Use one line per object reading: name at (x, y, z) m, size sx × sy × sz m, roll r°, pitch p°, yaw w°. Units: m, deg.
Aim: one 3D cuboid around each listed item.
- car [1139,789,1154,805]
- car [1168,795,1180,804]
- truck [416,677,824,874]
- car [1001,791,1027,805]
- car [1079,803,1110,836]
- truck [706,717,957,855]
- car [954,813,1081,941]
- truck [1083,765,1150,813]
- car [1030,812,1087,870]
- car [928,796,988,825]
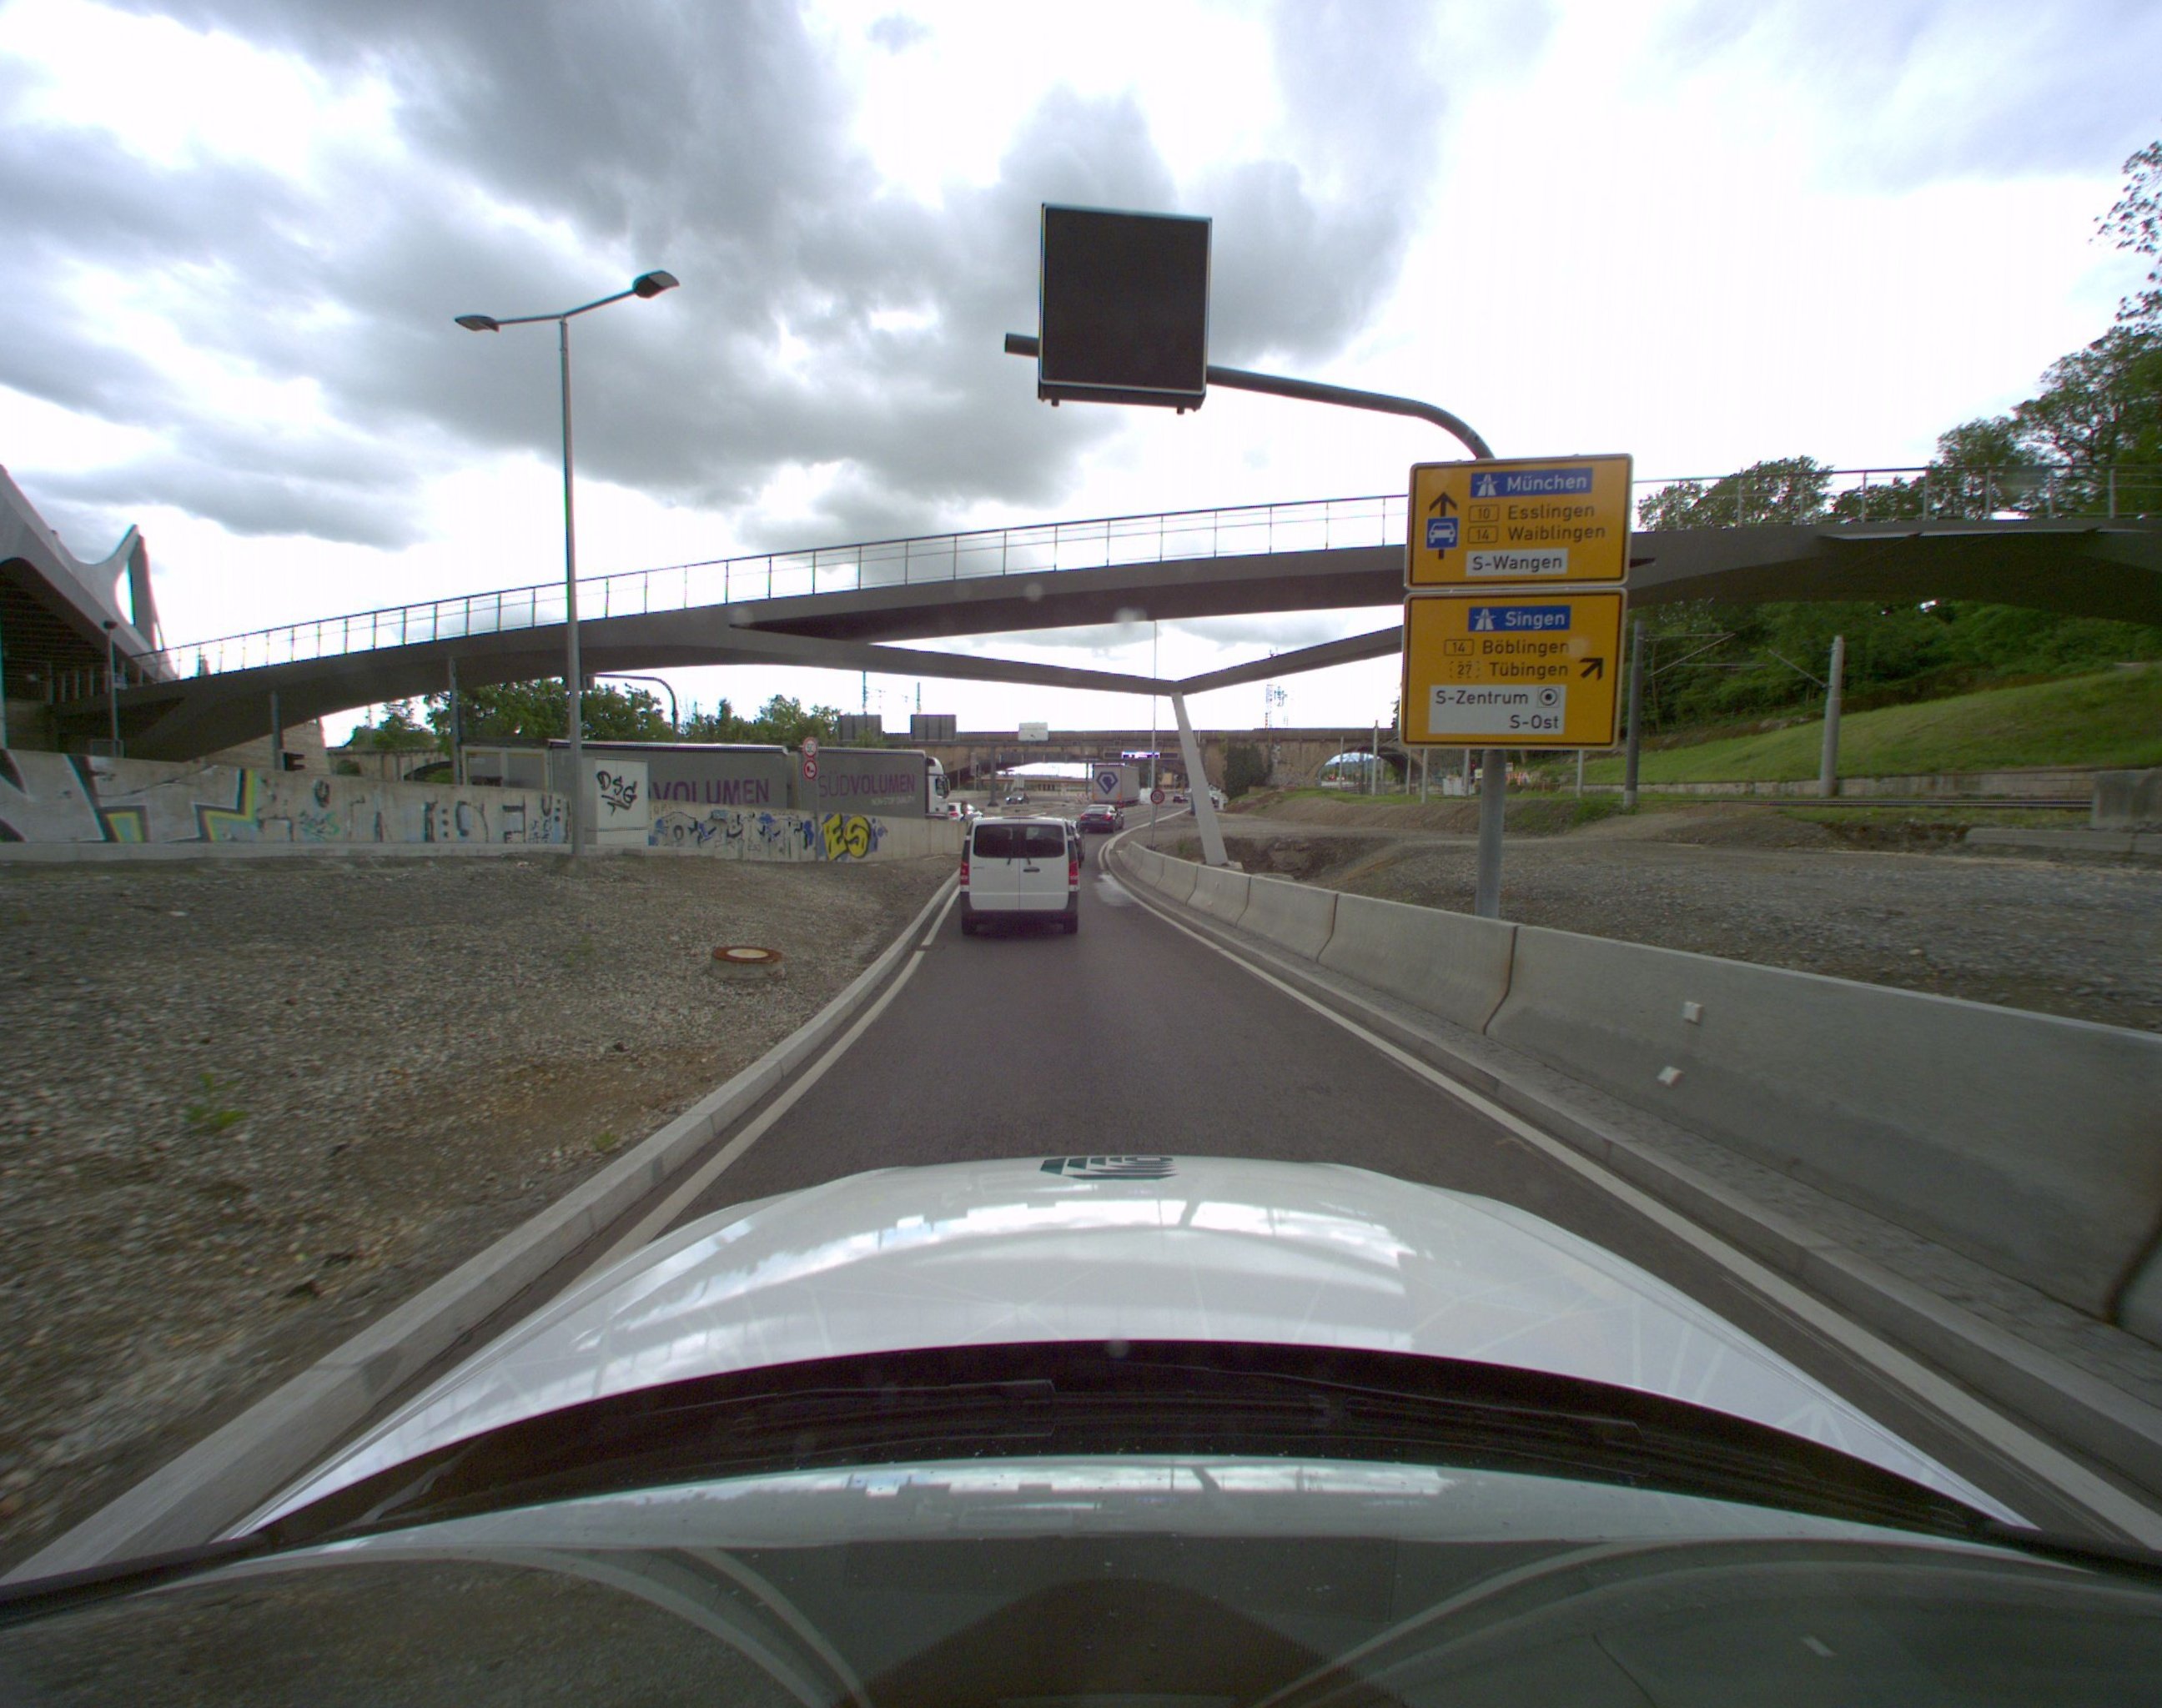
car at (9.293, -8.035, 115.161) m, size 1.888 × 2.115 × 4.495 m, roll 3°, pitch 3°, yaw 7°
car at (17.655, -10.460, 155.439) m, size 1.619 × 1.584 × 3.998 m, roll 2°, pitch 3°, yaw -3°
truck at (-11.322, -1.936, 21.993) m, size 2.895 × 4.015 × 10.251 m, roll 3°, pitch 4°, yaw 18°
car at (-7.580, -6.316, 92.496) m, size 1.807 × 1.452 × 4.016 m, roll 2°, pitch 3°, yaw 13°
car at (0.765, -1.907, 43.969) m, size 1.495 × 1.467 × 3.404 m, roll 2°, pitch 7°, yaw 3°
truck at (-8.597, -2.412, 30.468) m, size 2.964 × 4.174 × 11.296 m, roll 3°, pitch 4°, yaw 18°
car at (-1.022, 0.280, 14.449) m, size 1.871 × 1.890 × 4.750 m, roll 0°, pitch 1°, yaw -2°
truck at (3.611, -6.018, 75.641) m, size 3.295 × 3.807 × 16.656 m, roll 3°, pitch 5°, yaw 12°
car at (-0.733, -0.522, 28.657) m, size 1.743 × 1.624 × 3.849 m, roll 2°, pitch 6°, yaw 1°
car at (-6.947, -2.442, 46.576) m, size 1.980 × 1.551 × 4.016 m, roll 2°, pitch 3°, yaw 13°
